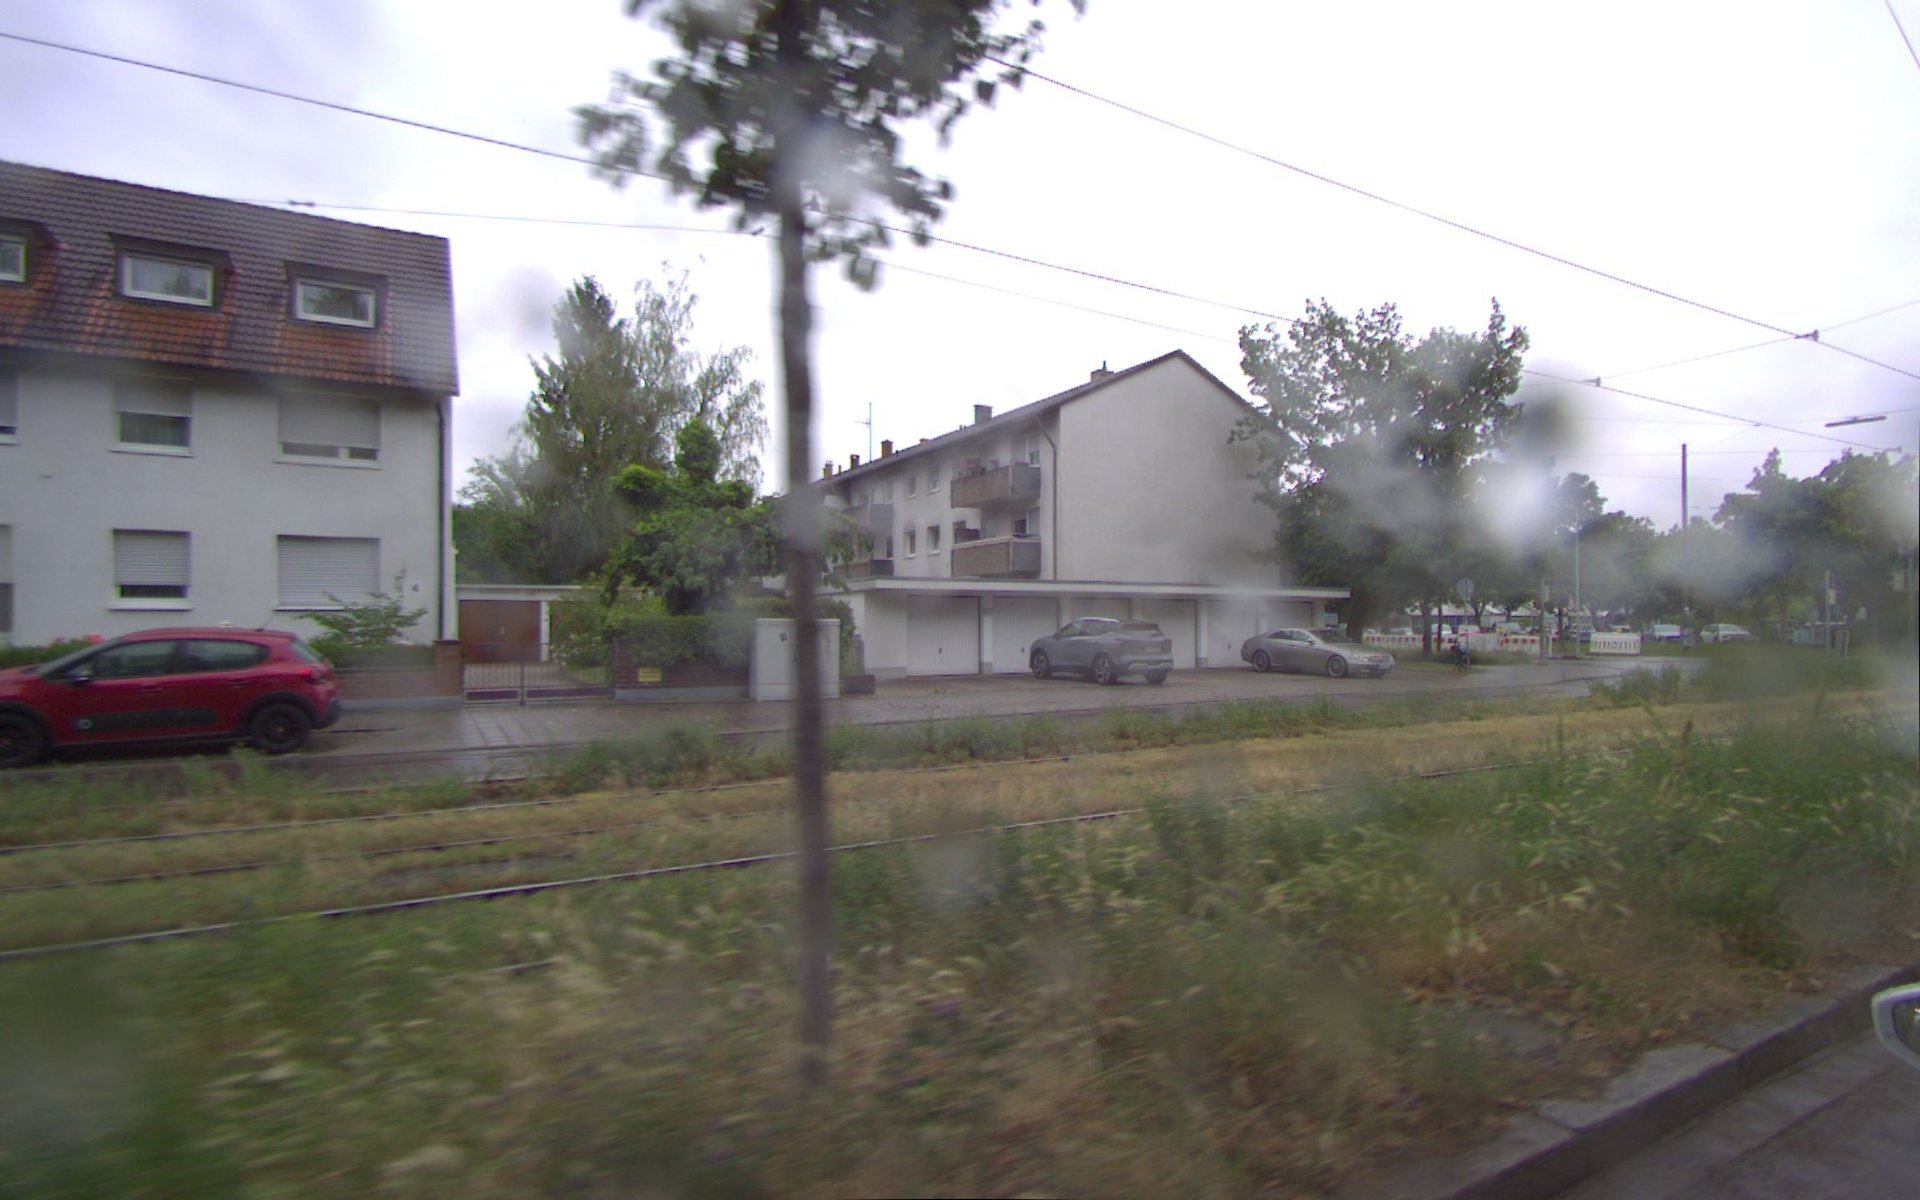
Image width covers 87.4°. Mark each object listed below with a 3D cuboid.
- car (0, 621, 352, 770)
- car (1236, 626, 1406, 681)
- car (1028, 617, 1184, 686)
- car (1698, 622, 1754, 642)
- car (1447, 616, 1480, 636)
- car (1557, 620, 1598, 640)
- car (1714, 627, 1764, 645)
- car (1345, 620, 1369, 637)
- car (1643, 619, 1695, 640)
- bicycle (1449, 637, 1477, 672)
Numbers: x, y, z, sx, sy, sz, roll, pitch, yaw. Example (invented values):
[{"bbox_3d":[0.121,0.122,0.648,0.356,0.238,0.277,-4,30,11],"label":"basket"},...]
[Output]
[{"bbox_3d":[-9.899,1.079,12.483,3.925,1.568,1.833,1,1,-30],"label":"car"},{"bbox_3d":[10.520,1.504,29.620,1.826,1.383,4.704,1,0,-29],"label":"car"},{"bbox_3d":[3.603,1.243,25.507,1.871,1.597,3.967,1,-2,-31],"label":"car"},{"bbox_3d":[47.686,1.998,62.635,1.632,1.265,3.743,-1,-2,18],"label":"car"},{"bbox_3d":[33.942,1.780,67.830,1.633,1.265,3.742,-1,-2,21],"label":"car"},{"bbox_3d":[40.536,1.952,65.972,1.633,1.265,3.742,-1,-2,21],"label":"car"},{"bbox_3d":[55.820,2.582,72.025,1.632,1.265,3.743,-1,-2,18],"label":"car"},{"bbox_3d":[32.176,2.333,81.458,1.632,1.343,3.743,-1,-2,18],"label":"car"},{"bbox_3d":[44.612,1.882,63.265,1.632,1.265,3.743,-1,-2,18],"label":"car"},{"bbox_3d":[15.935,1.710,31.811,0.474,1.033,1.835,3,1,35],"label":"bicycle"}]
